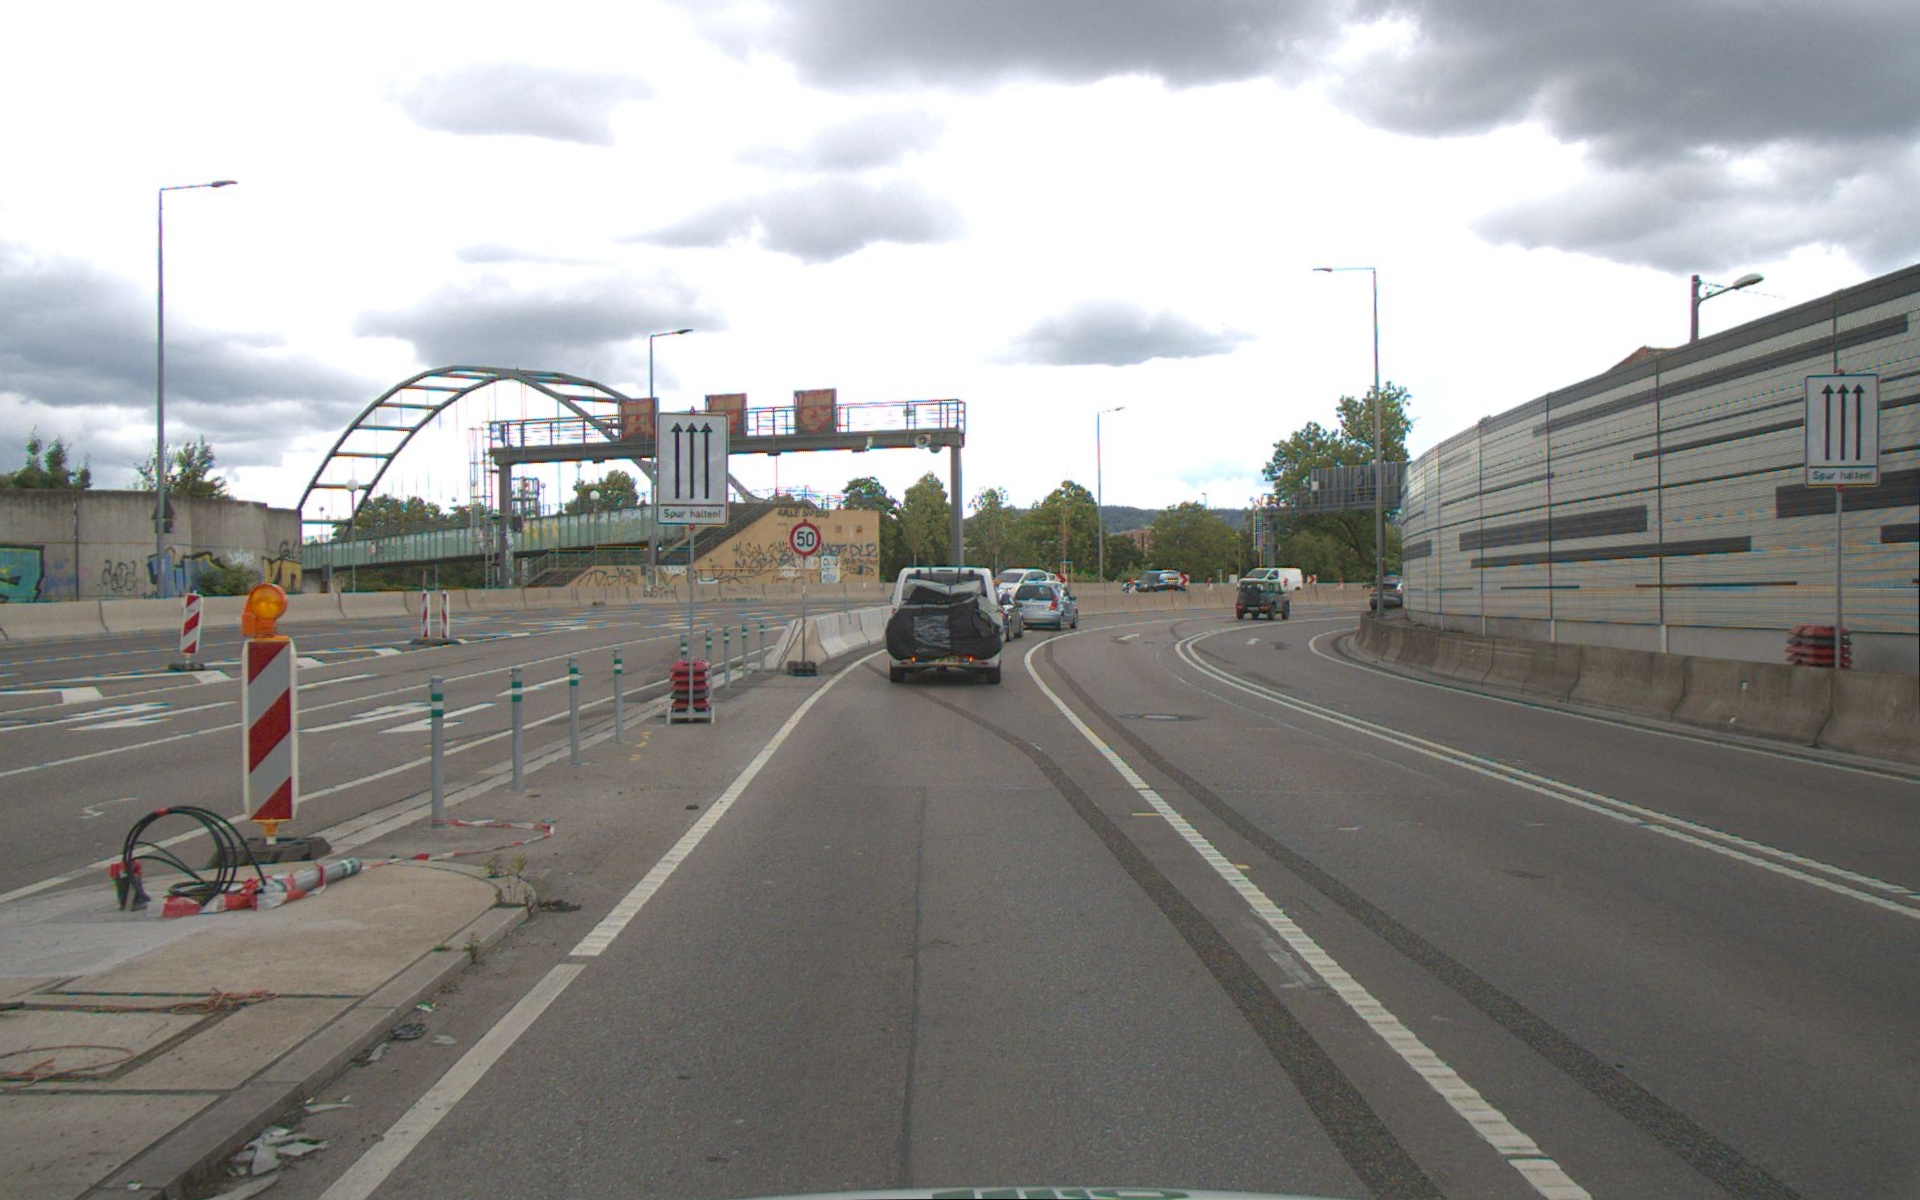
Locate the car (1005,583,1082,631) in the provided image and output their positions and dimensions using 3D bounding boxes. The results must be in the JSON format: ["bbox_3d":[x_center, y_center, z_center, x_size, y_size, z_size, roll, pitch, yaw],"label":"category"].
[{"bbox_3d":[2.823,0.211,55.073,1.880,1.514,4.069,0,1,13],"label":"car"}]

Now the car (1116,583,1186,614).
[{"bbox_3d":[11.189,-0.091,96.588,1.960,1.725,4.909,0,0,35],"label":"car"}]

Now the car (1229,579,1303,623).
[{"bbox_3d":[13.474,0.038,72.700,1.957,1.892,3.991,0,0,31],"label":"car"}]

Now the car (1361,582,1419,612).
[{"bbox_3d":[22.767,-0.183,87.500,1.974,1.514,4.058,0,1,30],"label":"car"}]

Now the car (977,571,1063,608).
[{"bbox_3d":[3.034,-0.518,82.902,1.915,1.780,5.260,0,0,33],"label":"car"}]

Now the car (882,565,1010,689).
[{"bbox_3d":[-0.314,0.420,28.015,1.953,1.891,5.638,0,0,-2],"label":"car"}]

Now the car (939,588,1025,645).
[{"bbox_3d":[0.654,0.429,45.480,1.776,1.459,4.069,-1,0,9],"label":"car"}]

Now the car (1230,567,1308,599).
[{"bbox_3d":[19.437,-1.053,104.032,5.059,1.986,2.211,0,1,-41],"label":"car"}]
